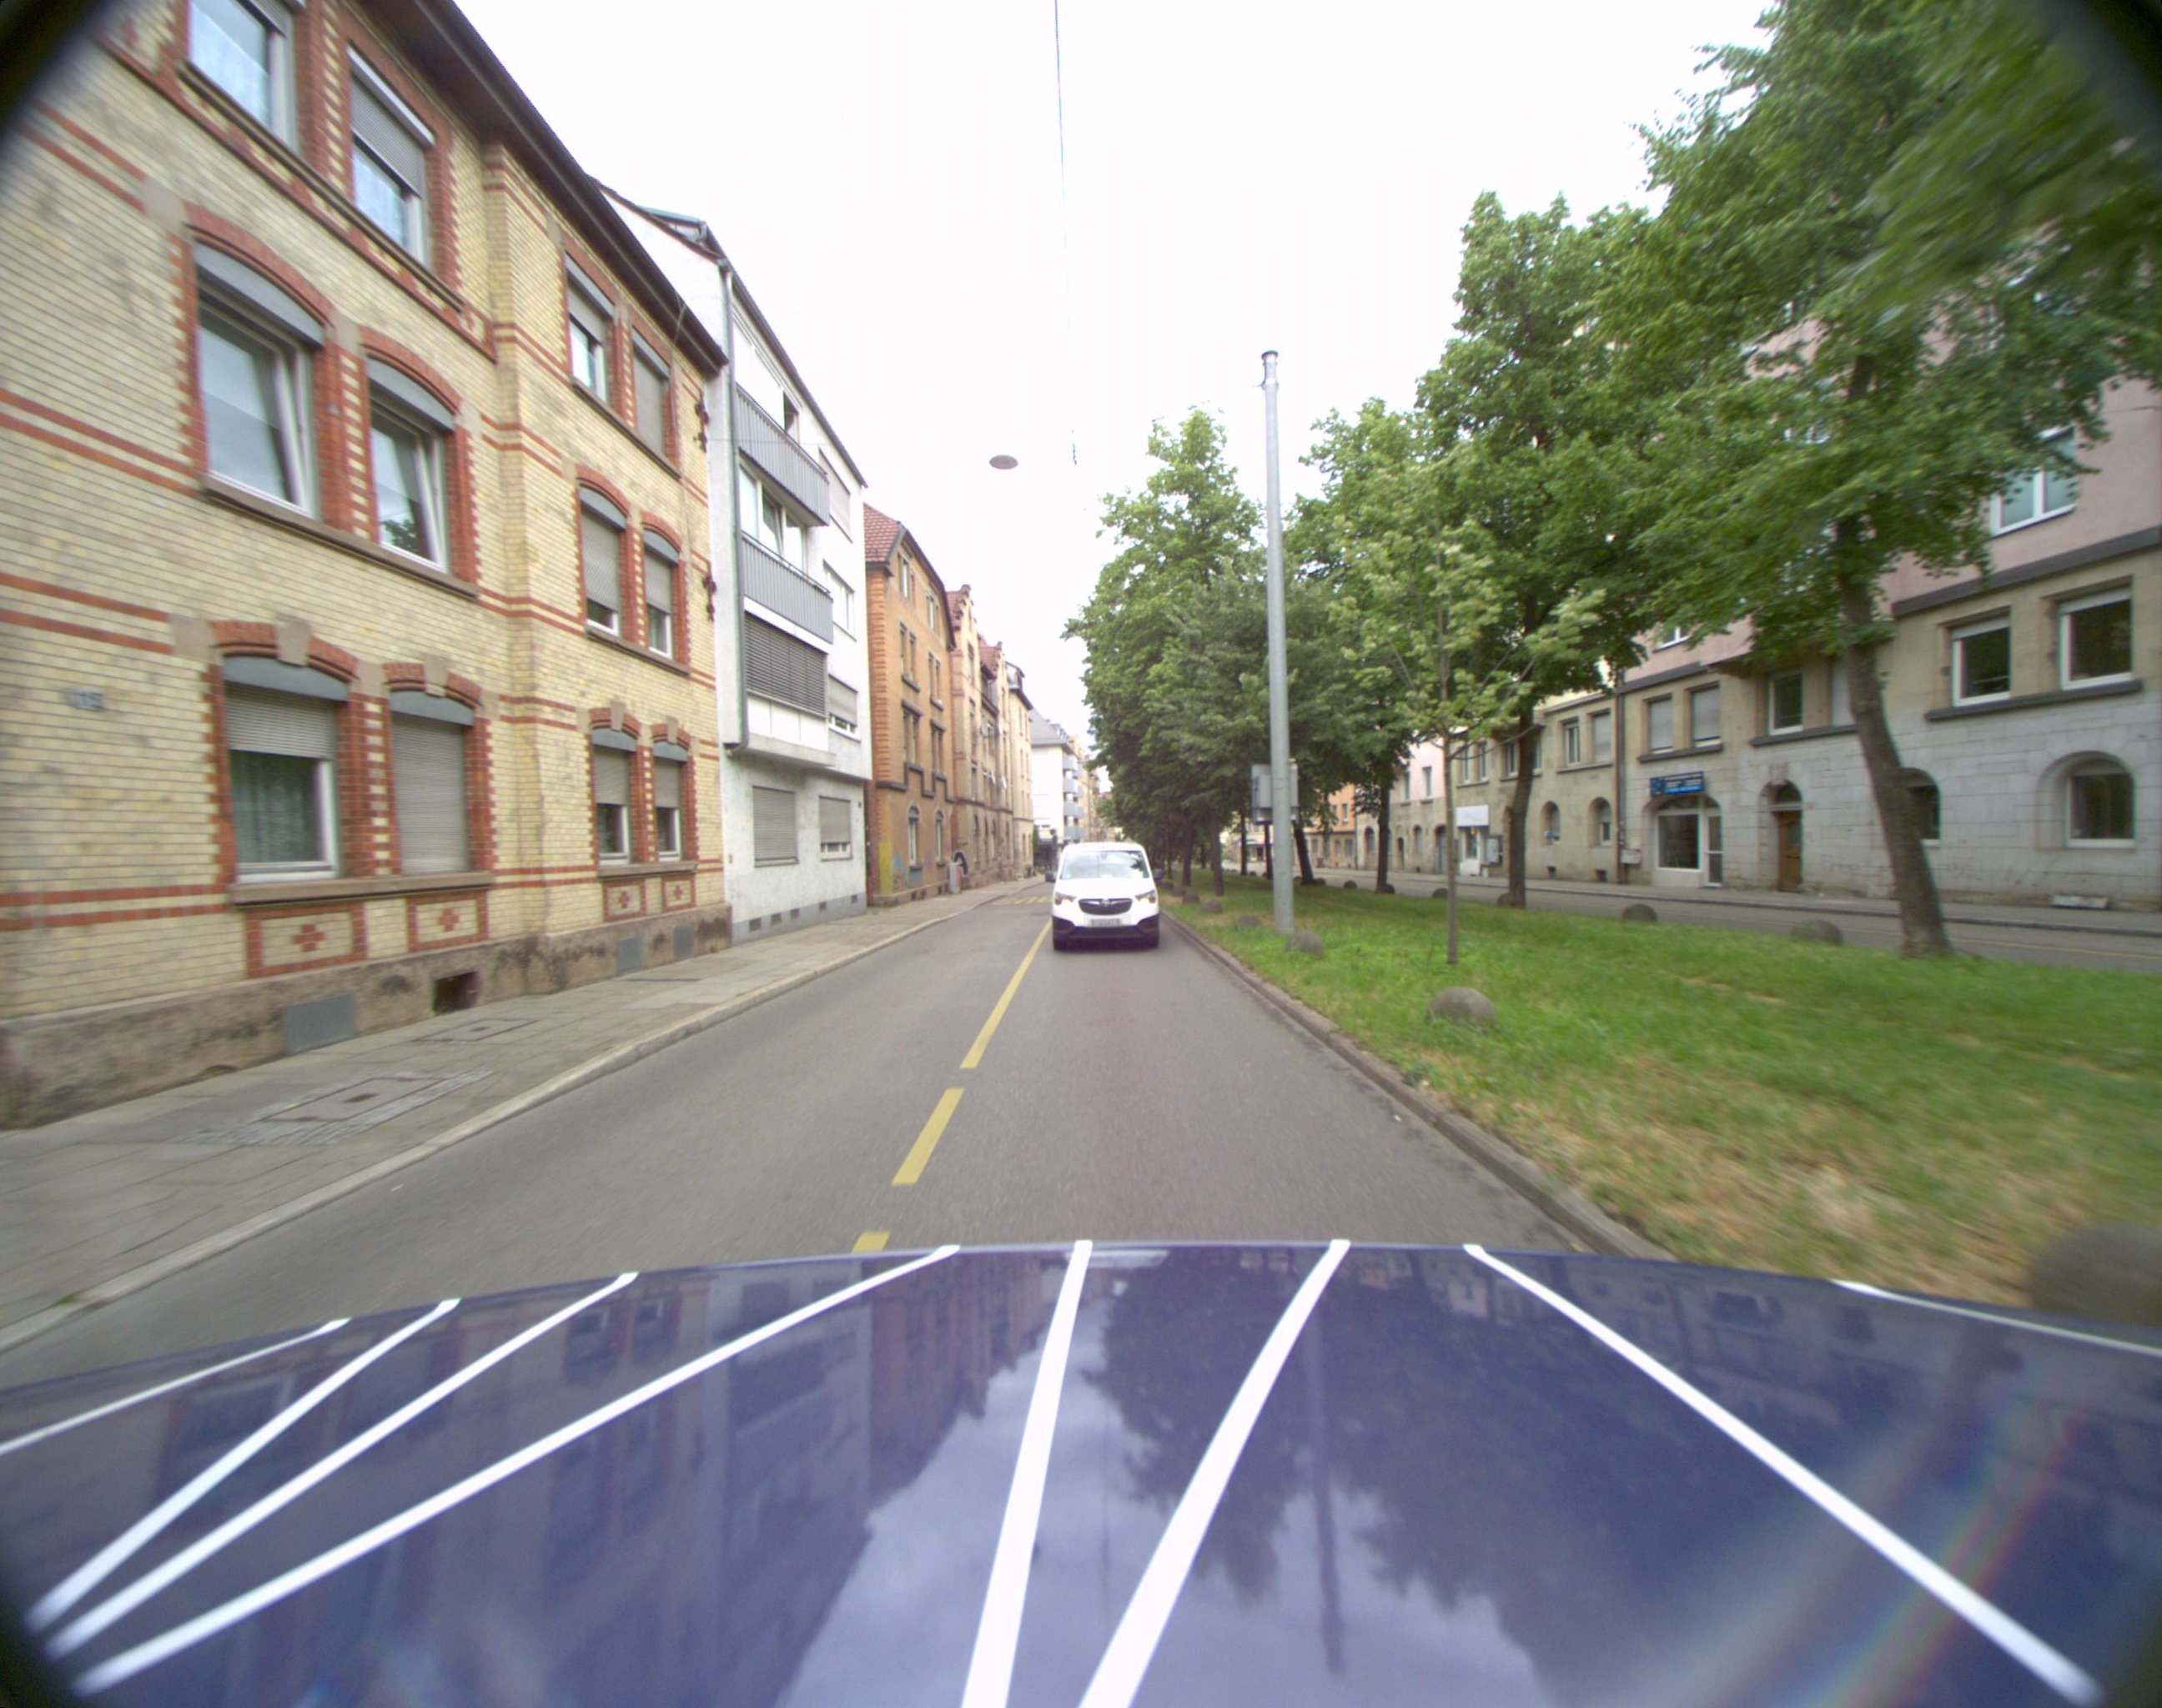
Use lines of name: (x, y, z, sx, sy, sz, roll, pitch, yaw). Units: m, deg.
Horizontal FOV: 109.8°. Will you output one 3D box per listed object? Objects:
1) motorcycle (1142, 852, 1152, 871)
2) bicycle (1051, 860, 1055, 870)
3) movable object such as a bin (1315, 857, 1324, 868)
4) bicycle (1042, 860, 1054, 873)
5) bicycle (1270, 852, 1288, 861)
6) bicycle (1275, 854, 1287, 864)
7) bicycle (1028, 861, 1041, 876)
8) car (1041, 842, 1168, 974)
motorcycle: (5.857, 0.694, 67.559, 0.825, 1.521, 2.626, 0, -3, 5)
bicycle: (-3.350, 1.364, 91.252, 0.400, 1.197, 1.285, -3, 0, -3)
movable object such as a bin: (20.828, 0.737, 66.398, 0.513, 0.921, 0.779, -3, 0, 5)
bicycle: (-3.073, 1.157, 71.039, 0.683, 1.142, 2.942, -2, -2, 5)
bicycle: (27.738, 0.310, 106.347, 2.345, 1.094, 0.775, -3, 0, 23)
bicycle: (24.908, 0.581, 94.518, 0.684, 1.142, 2.058, -3, -2, -8)
bicycle: (-3.660, 1.124, 60.112, 0.683, 1.143, 2.484, -2, 0, 5)
car: (0.521, 0.755, 12.929, 1.745, 1.830, 4.344, -2, 0, 5)
